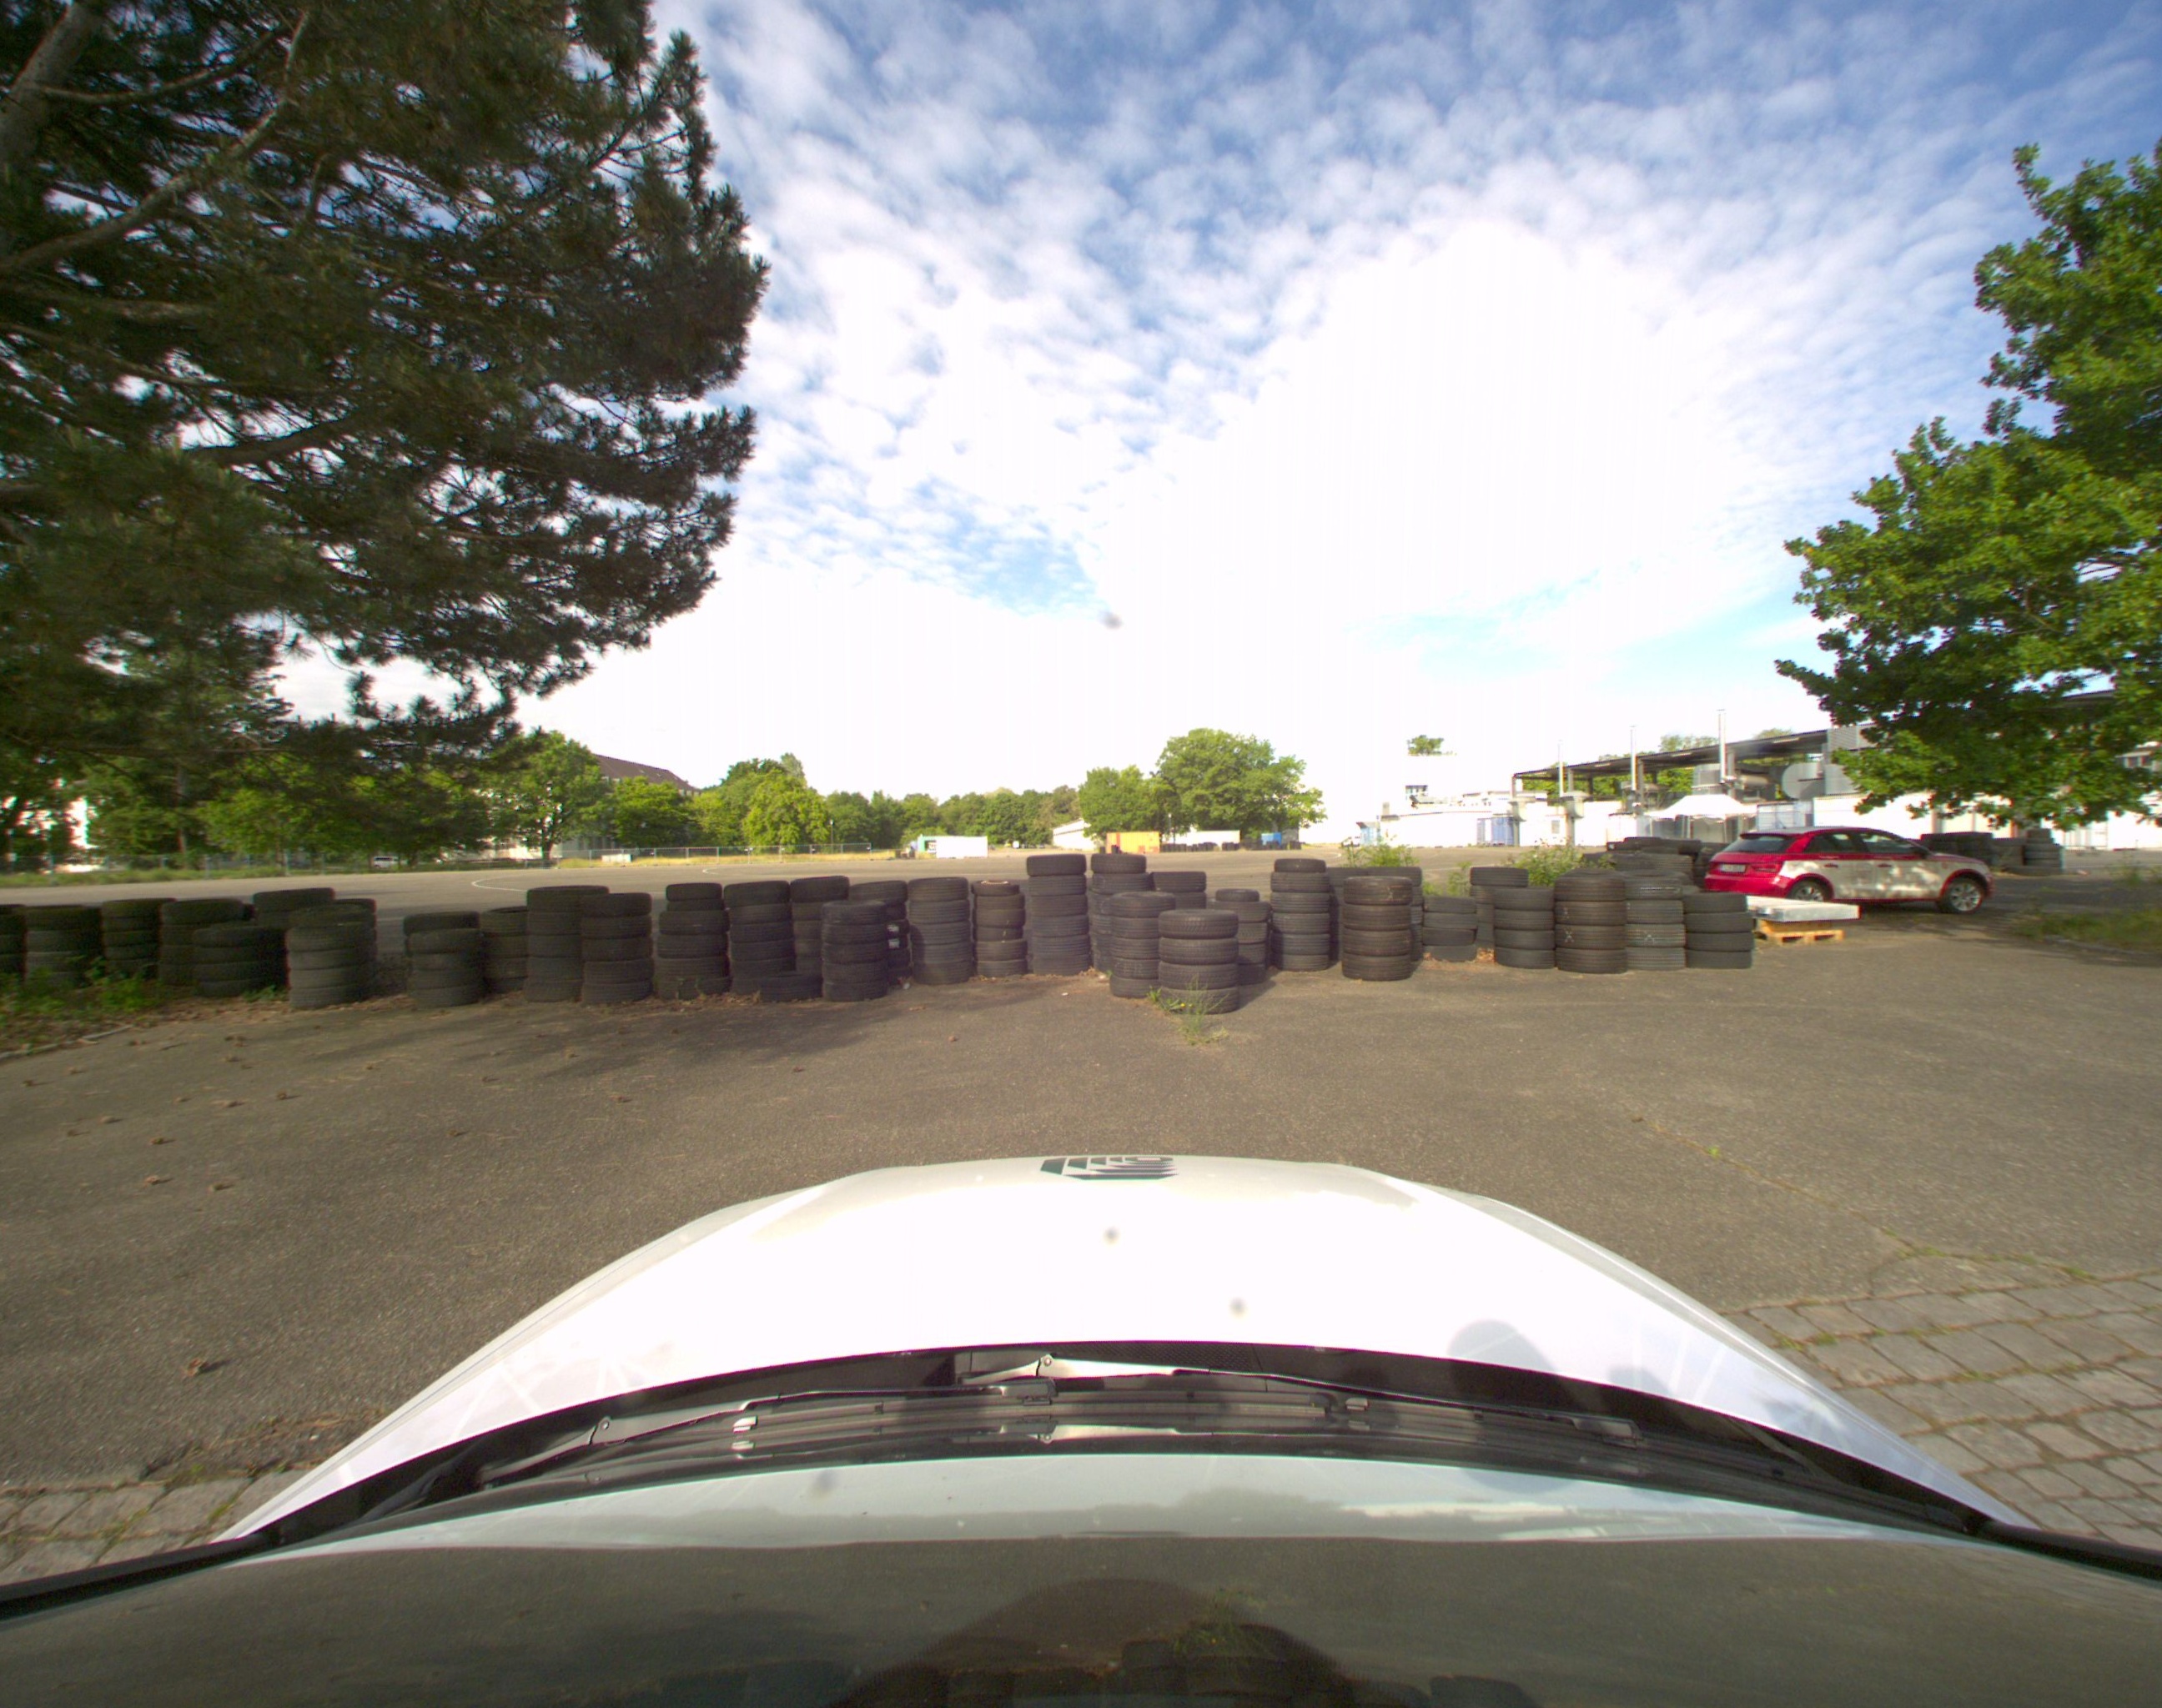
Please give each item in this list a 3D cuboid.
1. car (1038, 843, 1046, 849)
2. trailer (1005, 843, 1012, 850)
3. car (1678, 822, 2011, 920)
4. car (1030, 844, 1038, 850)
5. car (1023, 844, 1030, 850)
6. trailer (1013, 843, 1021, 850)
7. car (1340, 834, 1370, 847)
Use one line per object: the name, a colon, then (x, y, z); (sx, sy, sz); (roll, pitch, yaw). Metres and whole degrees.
car: (-11.779, -2.382, 247.724); (1.993, 1.749, 3.988); (-1, 1, -9)
trailer: (-22.120, -2.196, 249.299); (1.992, 2.013, 3.990); (-1, 1, -7)
car: (12.643, 0.253, 13.668); (3.973, 1.464, 1.728); (-1, 1, 0)
car: (-14.294, -2.218, 247.424); (2.030, 1.808, 3.989); (-2, 1, -9)
car: (-16.526, -2.125, 246.970); (1.993, 1.749, 3.988); (-1, 1, -9)
trailer: (-19.538, -2.200, 248.261); (2.056, 2.013, 3.991); (-1, 1, -7)
car: (35.878, -1.769, 106.837); (1.868, 1.564, 4.536); (-2, 1, -8)
